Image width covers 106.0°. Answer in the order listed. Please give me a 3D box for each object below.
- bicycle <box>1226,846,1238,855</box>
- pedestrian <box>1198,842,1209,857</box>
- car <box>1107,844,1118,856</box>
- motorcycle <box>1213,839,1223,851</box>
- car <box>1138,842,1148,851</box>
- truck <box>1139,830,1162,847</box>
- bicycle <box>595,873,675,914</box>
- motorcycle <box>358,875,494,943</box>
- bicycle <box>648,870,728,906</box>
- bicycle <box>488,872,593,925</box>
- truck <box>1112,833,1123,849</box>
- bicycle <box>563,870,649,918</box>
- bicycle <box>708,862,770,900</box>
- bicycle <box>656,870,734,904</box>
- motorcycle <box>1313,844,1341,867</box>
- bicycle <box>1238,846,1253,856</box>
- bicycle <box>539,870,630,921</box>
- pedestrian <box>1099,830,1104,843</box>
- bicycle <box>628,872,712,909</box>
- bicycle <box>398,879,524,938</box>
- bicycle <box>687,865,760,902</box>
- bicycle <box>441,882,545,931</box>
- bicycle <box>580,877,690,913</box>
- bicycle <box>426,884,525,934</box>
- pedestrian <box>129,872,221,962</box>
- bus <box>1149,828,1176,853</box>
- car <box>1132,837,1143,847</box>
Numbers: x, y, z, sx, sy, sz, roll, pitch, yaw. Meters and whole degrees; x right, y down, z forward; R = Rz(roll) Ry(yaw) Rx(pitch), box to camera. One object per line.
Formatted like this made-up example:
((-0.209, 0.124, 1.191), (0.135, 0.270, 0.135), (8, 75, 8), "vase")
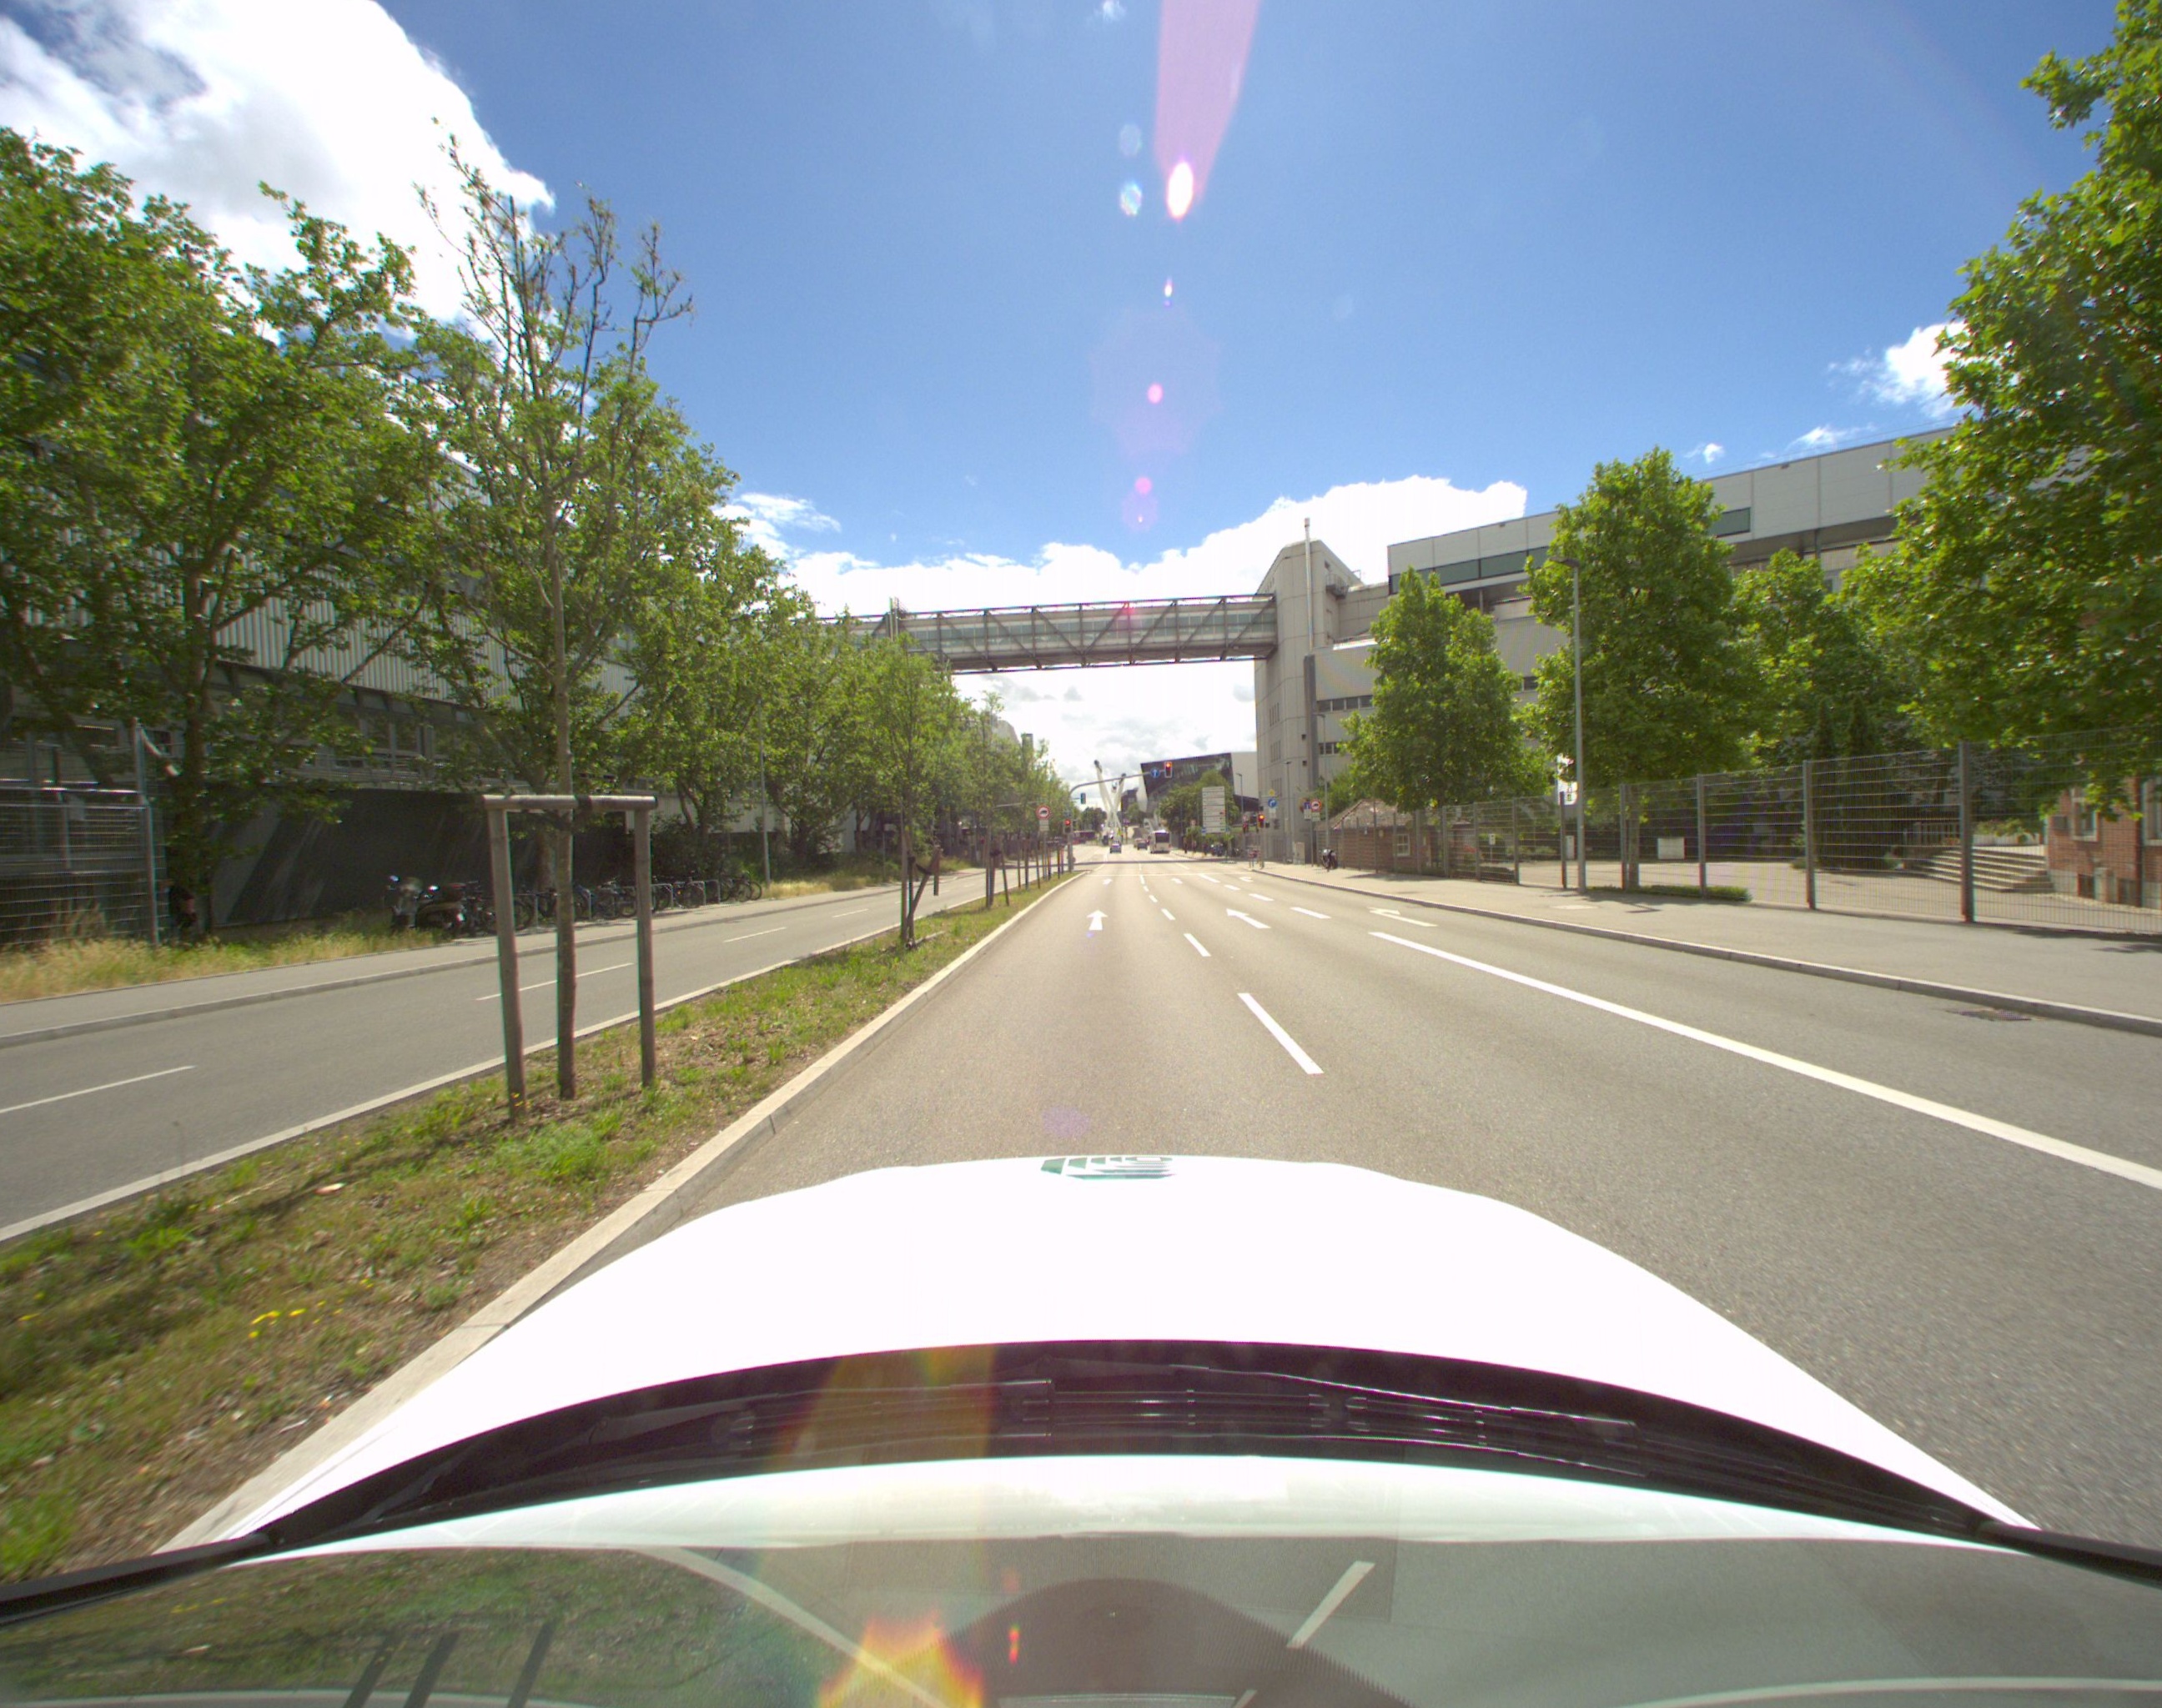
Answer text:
((15.195, -0.344, 82.131), (0.398, 0.937, 1.918), (-1, 0, -16), "bicycle")
((13.888, -0.499, 92.134), (0.839, 1.624, 0.962), (-1, 0, 44), "pedestrian")
((5.033, -0.642, 129.683), (1.731, 1.741, 3.694), (-1, 0, 3), "car")
((14.403, -0.927, 85.757), (0.703, 1.203, 2.026), (-3, 1, 3), "motorcycle")
((11.642, -1.432, 152.183), (1.731, 1.741, 3.694), (-1, 0, 3), "car")
((18.152, -4.008, 212.883), (3.423, 4.391, 9.469), (-1, 0, 21), "truck")
((-13.165, 1.169, 24.073), (1.912, 1.122, 0.806), (-1, 0, 0), "bicycle")
((-13.618, 1.124, 16.974), (2.127, 1.309, 0.806), (-1, 0, 0), "motorcycle")
((-13.370, 1.163, 27.721), (2.548, 1.157, 0.646), (-1, 0, 12), "bicycle")
((-13.985, 1.132, 21.113), (2.127, 1.282, 0.806), (-1, 0, 0), "bicycle")
((9.087, -3.106, 202.588), (2.382, 3.897, 6.182), (-1, 0, 3), "truck")
((-13.425, 1.118, 23.058), (1.912, 1.282, 0.806), (-1, 0, 0), "bicycle")
((-12.989, 1.021, 30.931), (2.157, 1.363, 0.490), (-1, 0, 3), "bicycle")
((-13.678, 1.160, 28.865), (2.548, 1.157, 0.728), (-1, 0, 12), "bicycle")
((12.661, 0.074, 42.053), (0.691, 1.158, 2.146), (-3, 0, -2), "motorcycle")
((16.085, -0.266, 79.797), (0.399, 0.937, 1.914), (-1, 0, -22), "bicycle")
((-13.381, 1.117, 21.991), (1.912, 1.282, 0.806), (-1, 0, 0), "bicycle")
((6.062, -5.222, 243.670), (1.410, 3.600, 1.284), (-1, 0, 2), "pedestrian")
((-13.589, 1.203, 26.935), (2.548, 1.096, 0.698), (-2, 0, 12), "bicycle")
((-13.664, 1.189, 17.979), (2.127, 1.180, 0.806), (-1, 0, 0), "bicycle")
((-13.033, 1.067, 29.710), (2.394, 1.258, 0.556), (-1, 0, 3), "bicycle")
((-13.849, 1.229, 19.202), (2.074, 1.062, 0.497), (-1, 0, 0), "bicycle")
((-13.677, 1.253, 25.054), (2.832, 1.006, 0.849), (-1, 0, -7), "bicycle")
((-13.920, 1.262, 18.734), (1.917, 1.074, 0.422), (-1, 0, 0), "bicycle")
((-16.387, 1.128, 14.751), (0.749, 1.551, 0.823), (-1, 0, 12), "pedestrian")
((12.352, -2.049, 124.140), (3.439, 3.543, 10.612), (-1, 0, 2), "bus")
((12.480, -2.643, 179.447), (1.988, 2.014, 3.997), (0, -1, -2), "car")
